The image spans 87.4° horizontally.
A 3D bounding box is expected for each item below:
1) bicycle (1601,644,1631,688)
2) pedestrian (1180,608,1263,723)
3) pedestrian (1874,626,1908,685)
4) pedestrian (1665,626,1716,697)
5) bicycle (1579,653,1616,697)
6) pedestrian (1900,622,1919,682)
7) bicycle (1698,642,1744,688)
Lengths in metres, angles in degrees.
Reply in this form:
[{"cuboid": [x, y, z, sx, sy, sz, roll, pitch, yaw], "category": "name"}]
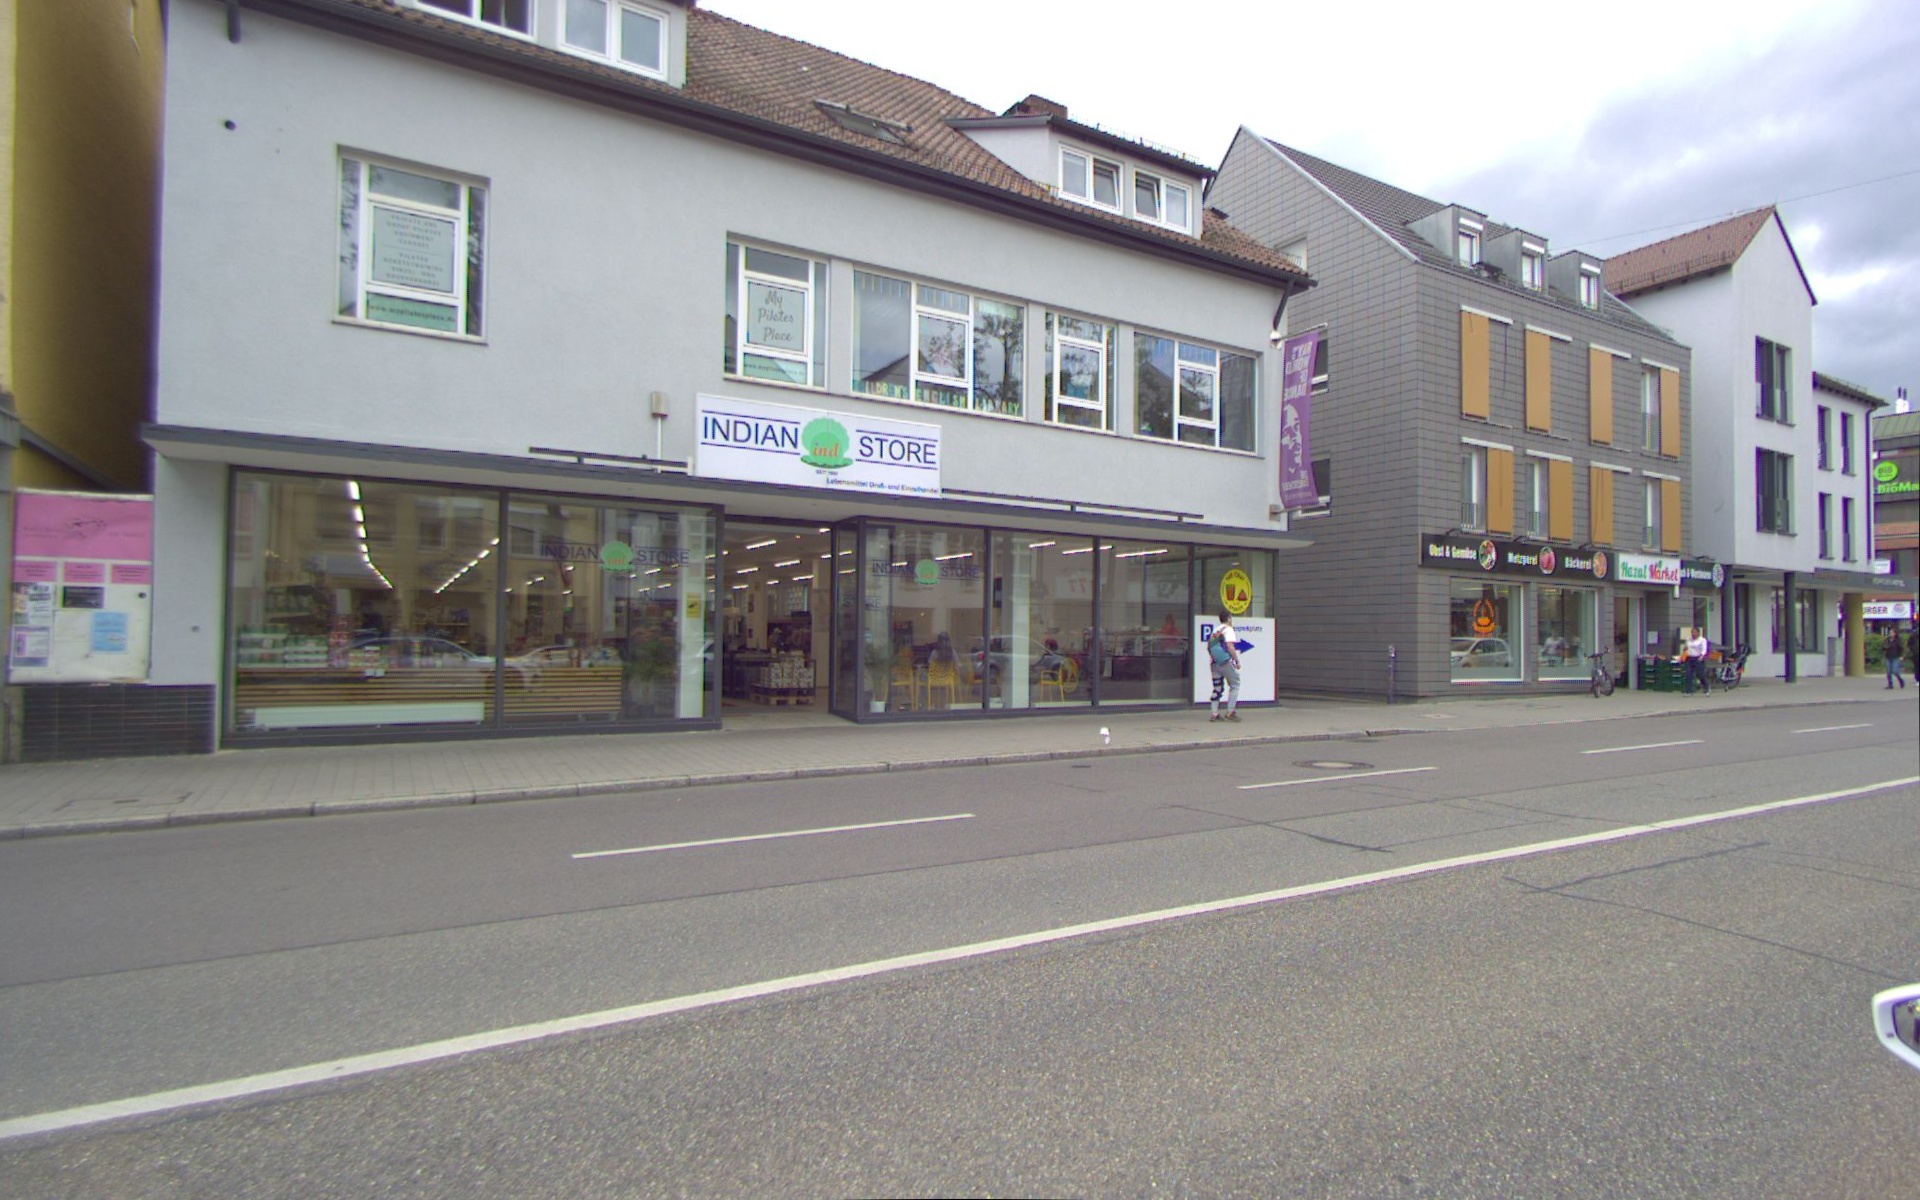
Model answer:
[{"cuboid": [17.474, 1.751, 26.755, 1.281, 1.142, 0.382, 2, -2, -44], "category": "bicycle"}, {"cuboid": [4.132, 1.007, 15.890, 0.969, 1.728, 0.750, 1, 1, -30], "category": "pedestrian"}, {"cuboid": [26.788, 1.594, 28.897, 0.555, 1.672, 0.646, 1, -2, -41], "category": "pedestrian"}, {"cuboid": [17.231, 1.428, 23.686, 0.744, 1.631, 0.725, 1, -2, -30], "category": "pedestrian"}, {"cuboid": [14.746, 1.725, 23.224, 1.472, 0.966, 0.323, 2, -2, -41], "category": "bicycle"}, {"cuboid": [28.802, 1.562, 30.251, 0.640, 1.799, 0.565, 1, -2, -35], "category": "pedestrian"}, {"cuboid": [20.427, 1.733, 26.948, 1.806, 1.201, 0.384, 1, -2, -33], "category": "bicycle"}]
